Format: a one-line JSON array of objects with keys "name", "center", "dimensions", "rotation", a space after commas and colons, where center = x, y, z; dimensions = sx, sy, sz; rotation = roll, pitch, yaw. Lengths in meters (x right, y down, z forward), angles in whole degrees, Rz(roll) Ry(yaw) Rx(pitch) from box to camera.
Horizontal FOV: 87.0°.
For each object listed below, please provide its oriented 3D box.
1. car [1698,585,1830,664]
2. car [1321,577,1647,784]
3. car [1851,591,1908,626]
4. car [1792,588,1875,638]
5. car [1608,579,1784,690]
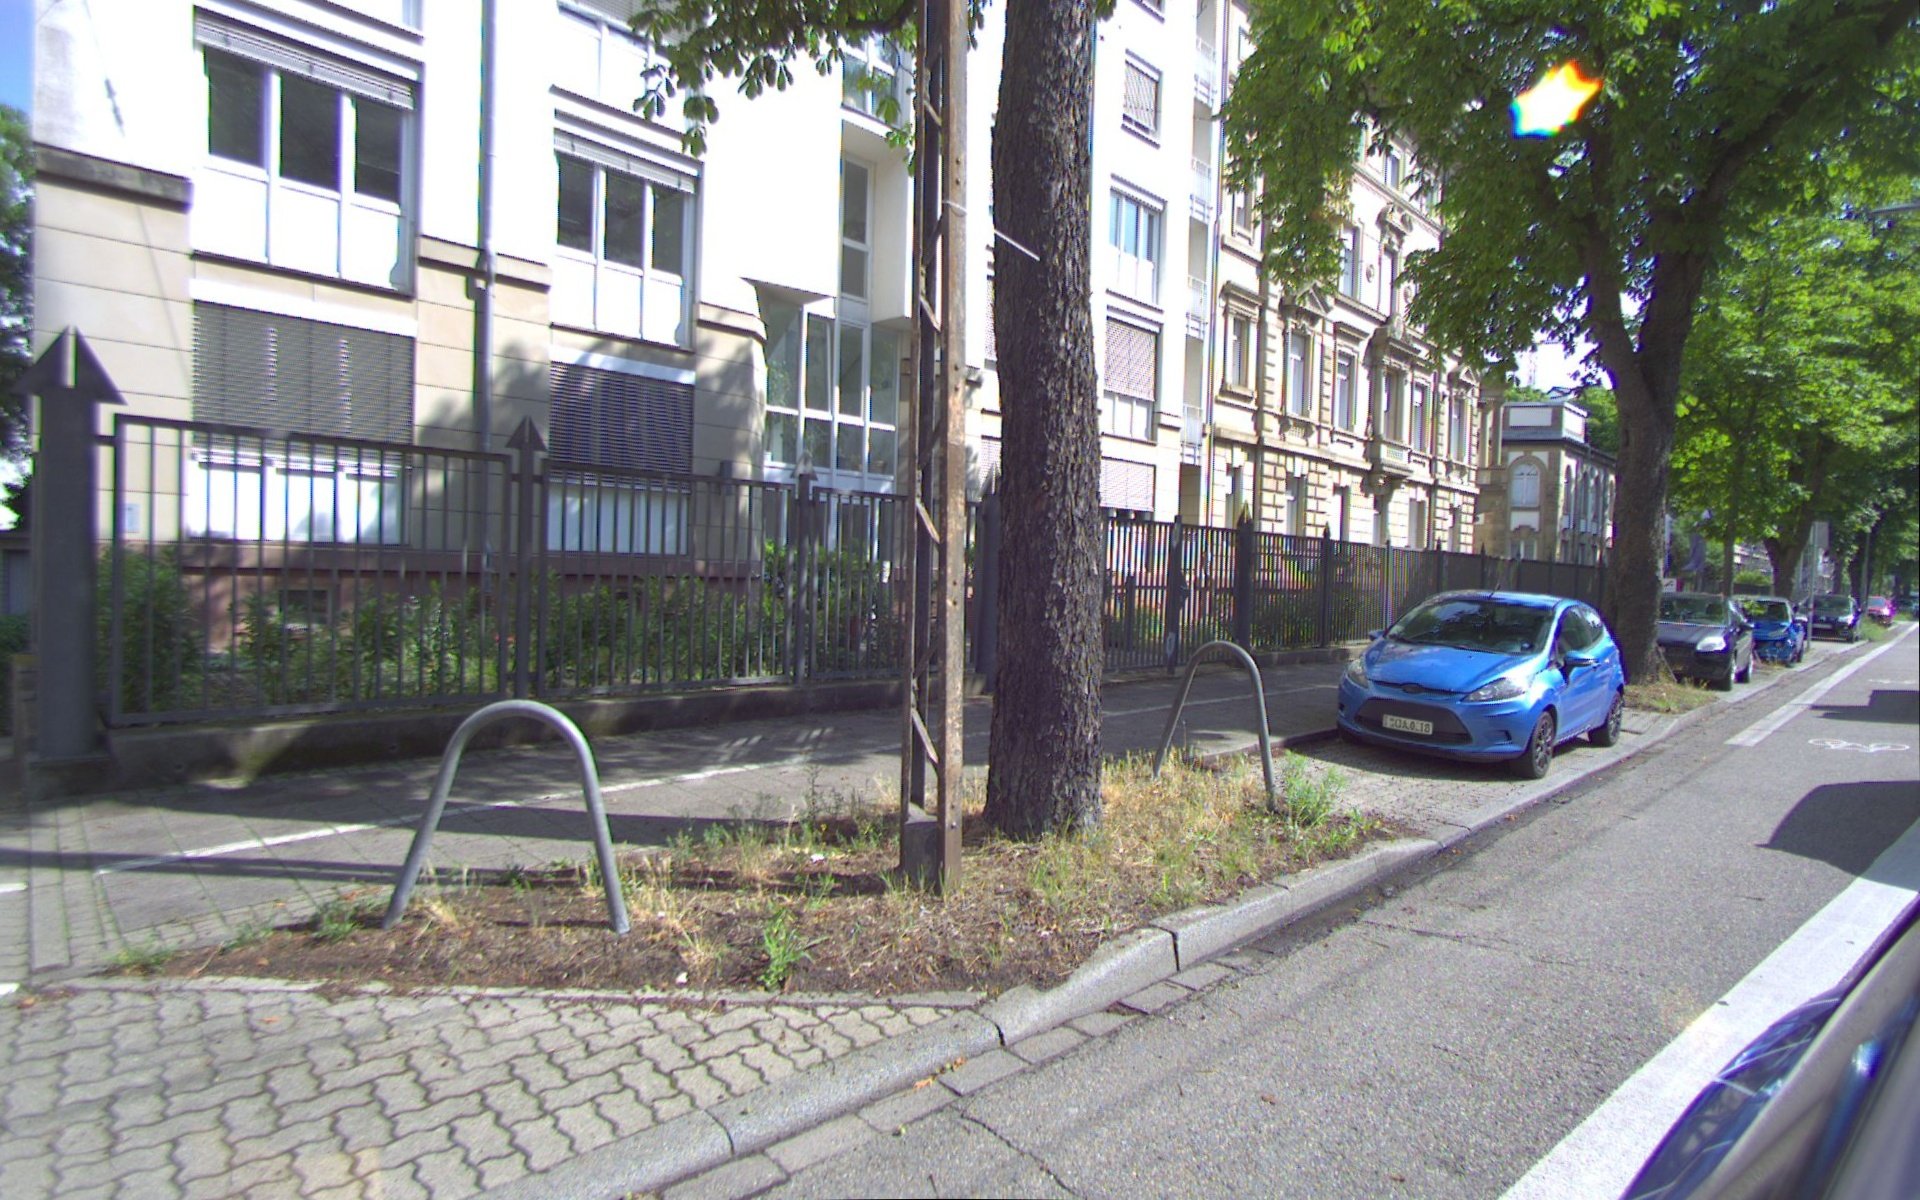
[{"name": "car", "center": [17.805, 0.485, 22.365], "dimensions": [3.861, 1.469, 1.722], "rotation": [0, 4, -44]}, {"name": "car", "center": [5.026, 0.584, 9.489], "dimensions": [1.639, 1.472, 3.639], "rotation": [6, 4, 45]}, {"name": "car", "center": [46.814, 0.402, 51.496], "dimensions": [4.130, 1.591, 1.772], "rotation": [0, 4, -44]}, {"name": "car", "center": [30.829, 0.423, 35.663], "dimensions": [4.130, 1.549, 1.772], "rotation": [0, 4, -44]}, {"name": "car", "center": [12.179, 0.494, 16.679], "dimensions": [3.562, 1.526, 1.643], "rotation": [0, 4, -43]}]
